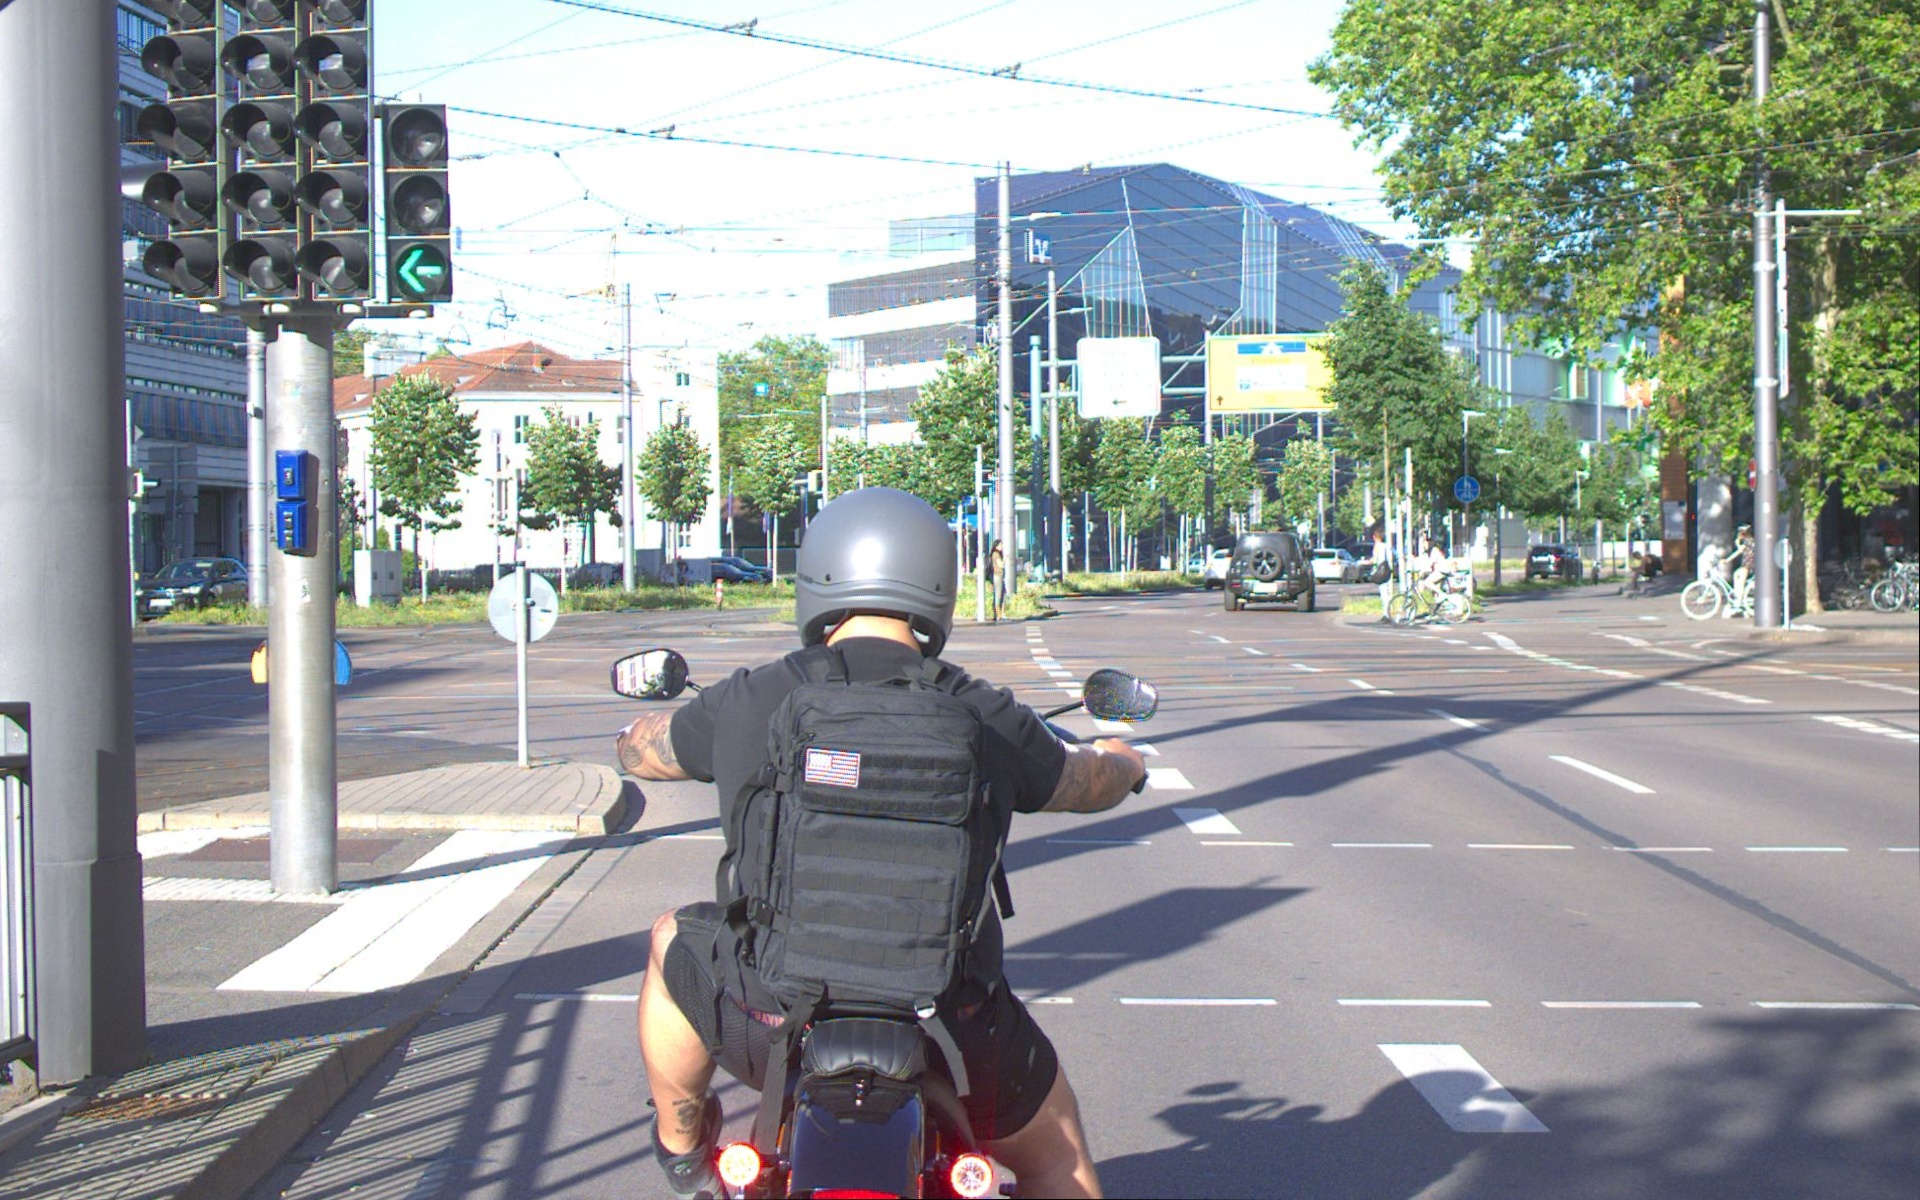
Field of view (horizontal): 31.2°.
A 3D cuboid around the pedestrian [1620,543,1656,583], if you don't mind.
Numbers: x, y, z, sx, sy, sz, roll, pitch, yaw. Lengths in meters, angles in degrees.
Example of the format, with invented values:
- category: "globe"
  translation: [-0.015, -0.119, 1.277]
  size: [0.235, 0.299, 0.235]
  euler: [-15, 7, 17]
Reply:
- category: "pedestrian"
  translation: [17.872, -0.975, 90.661]
  size: [0.785, 1.053, 0.813]
  euler: [0, 1, 22]

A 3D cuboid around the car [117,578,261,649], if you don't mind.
- category: "car"
  translation: [-17.630, 0.289, 78.803]
  size: [1.792, 1.461, 4.310]
  euler: [-1, 2, 8]

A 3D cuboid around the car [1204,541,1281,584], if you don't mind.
- category: "car"
  translation: [10.117, -1.332, 122.977]
  size: [1.903, 1.503, 3.997]
  euler: [1, 1, 18]

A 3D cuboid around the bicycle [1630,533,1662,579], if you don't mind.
- category: "bicycle"
  translation: [22.574, -1.441, 113.095]
  size: [0.861, 1.476, 2.574]
  euler: [0, 1, 15]

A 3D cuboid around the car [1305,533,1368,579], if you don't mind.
- category: "car"
  translation: [15.505, -1.817, 141.395]
  size: [1.821, 1.811, 3.940]
  euler: [0, 1, 18]

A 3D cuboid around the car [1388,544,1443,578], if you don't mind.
- category: "car"
  translation: [20.716, -1.778, 156.182]
  size: [1.722, 1.479, 3.750]
  euler: [0, 1, 20]

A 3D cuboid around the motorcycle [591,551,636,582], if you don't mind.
- category: "motorcycle"
  translation: [-13.833, -1.337, 137.477]
  size: [0.984, 1.227, 2.941]
  euler: [0, 1, 11]

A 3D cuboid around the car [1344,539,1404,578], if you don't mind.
- category: "car"
  translation: [17.890, -1.790, 148.465]
  size: [1.722, 1.651, 3.750]
  euler: [0, 1, 20]

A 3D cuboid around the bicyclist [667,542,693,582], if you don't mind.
- category: "bicyclist"
  translation: [-11.955, -1.620, 146.628]
  size: [0.764, 1.661, 0.993]
  euler: [0, 1, 18]

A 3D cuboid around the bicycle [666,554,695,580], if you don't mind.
- category: "bicycle"
  translation: [-11.929, -1.404, 146.639]
  size: [0.643, 1.104, 1.683]
  euler: [0, 1, 18]

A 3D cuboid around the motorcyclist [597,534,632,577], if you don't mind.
- category: "motorcyclist"
  translation: [-13.814, -1.778, 137.592]
  size: [1.019, 1.725, 1.460]
  euler: [0, 1, 11]

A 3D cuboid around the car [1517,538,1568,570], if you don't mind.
- category: "car"
  translation: [27.361, -2.152, 161.442]
  size: [1.843, 1.459, 3.997]
  euler: [1, 1, 17]

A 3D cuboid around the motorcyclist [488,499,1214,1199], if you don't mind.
- category: "motorcyclist"
  translation: [-0.167, 0.624, 5.551]
  size: [1.022, 1.547, 1.286]
  euler: [1, 1, -1]

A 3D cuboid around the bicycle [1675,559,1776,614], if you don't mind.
- category: "bicycle"
  translation: [14.517, -0.251, 65.202]
  size: [1.853, 1.018, 0.516]
  euler: [-1, 0, 11]

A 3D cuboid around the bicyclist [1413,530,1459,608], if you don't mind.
- category: "bicyclist"
  translation: [9.295, -0.602, 67.156]
  size: [0.743, 1.498, 0.569]
  euler: [-1, 0, 23]

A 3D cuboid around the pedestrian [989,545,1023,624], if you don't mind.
- category: "pedestrian"
  translation: [0.915, -0.306, 69.029]
  size: [0.657, 1.577, 0.489]
  euler: [0, 1, 3]

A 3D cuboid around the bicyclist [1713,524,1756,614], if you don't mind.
- category: "bicyclist"
  translation: [14.677, -0.590, 65.150]
  size: [0.743, 1.689, 0.570]
  euler: [-1, 0, 11]

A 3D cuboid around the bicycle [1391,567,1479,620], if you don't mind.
- category: "bicycle"
  translation: [9.282, -0.121, 67.175]
  size: [1.629, 1.018, 0.516]
  euler: [-1, 0, 23]

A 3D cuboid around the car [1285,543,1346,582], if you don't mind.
- category: "car"
  translation: [14.156, -1.500, 136.798]
  size: [1.774, 1.509, 3.729]
  euler: [0, 1, 16]

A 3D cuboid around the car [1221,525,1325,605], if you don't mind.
- category: "car"
  translation: [7.630, -0.841, 83.415]
  size: [2.054, 1.867, 4.225]
  euler: [1, 1, 11]

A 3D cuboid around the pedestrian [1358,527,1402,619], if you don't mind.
- category: "pedestrian"
  translation: [8.465, -0.544, 69.277]
  size: [0.701, 1.830, 0.514]
  euler: [1, 0, 35]

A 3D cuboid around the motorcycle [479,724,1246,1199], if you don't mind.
- category: "motorcycle"
  translation: [-0.146, 0.838, 5.705]
  size: [1.005, 1.121, 2.323]
  euler: [1, 1, -1]
